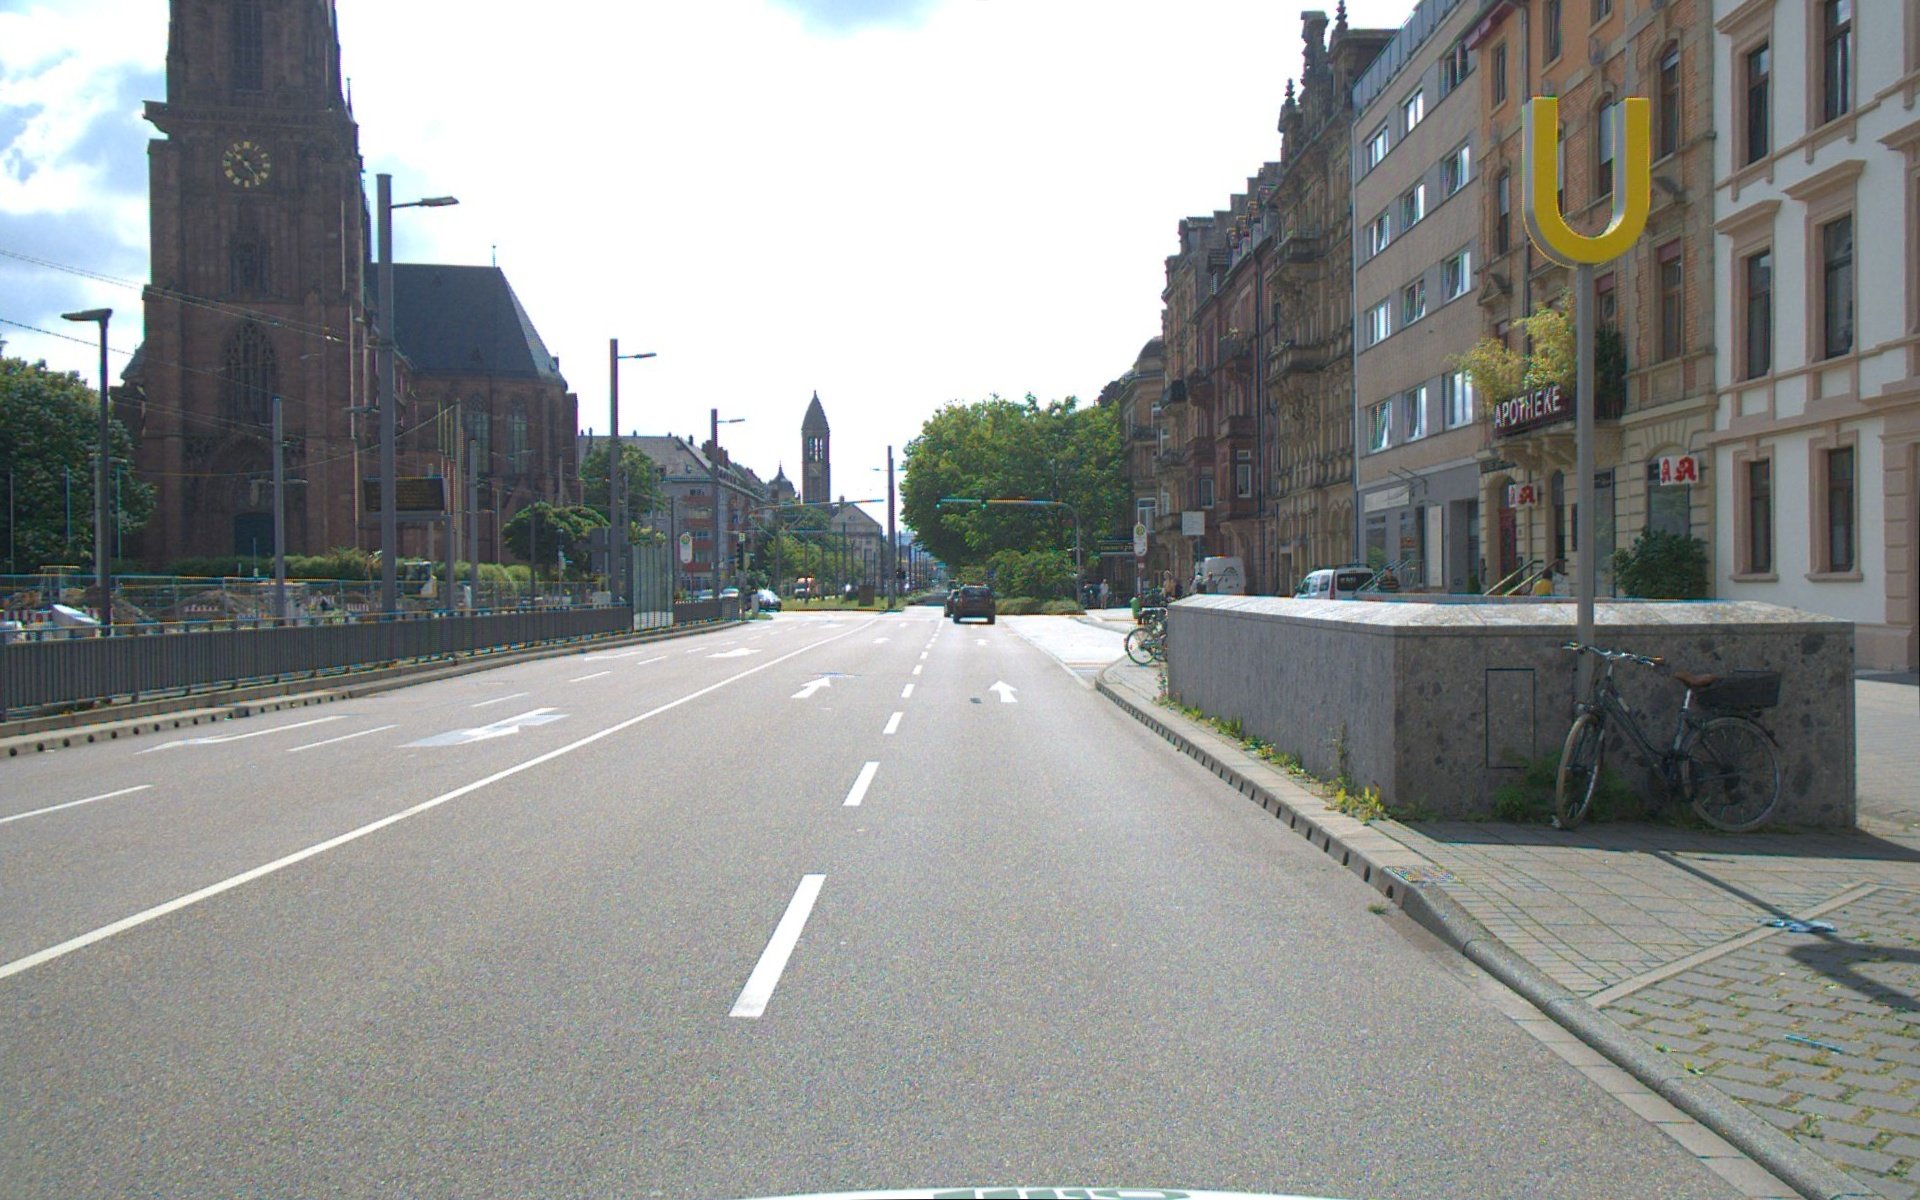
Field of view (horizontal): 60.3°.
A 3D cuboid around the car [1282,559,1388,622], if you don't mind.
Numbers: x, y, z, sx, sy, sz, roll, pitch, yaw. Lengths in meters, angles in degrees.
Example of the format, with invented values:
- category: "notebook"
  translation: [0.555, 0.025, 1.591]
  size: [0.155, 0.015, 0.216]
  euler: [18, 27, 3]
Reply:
- category: "car"
  translation: [12.071, -0.288, 53.556]
  size: [1.955, 1.894, 4.747]
  euler: [-1, 0, -5]

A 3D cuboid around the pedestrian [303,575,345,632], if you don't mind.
- category: "pedestrian"
  translation: [-23.409, 0.113, 60.904]
  size: [1.043, 2.049, 1.051]
  euler: [-1, 0, 3]

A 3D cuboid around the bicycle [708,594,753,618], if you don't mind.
- category: "bicycle"
  translation: [-11.110, 0.287, 80.129]
  size: [1.975, 1.146, 0.932]
  euler: [-1, 0, 10]

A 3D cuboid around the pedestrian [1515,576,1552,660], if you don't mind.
- category: "pedestrian"
  translation: [12.067, 0.364, 34.804]
  size: [0.566, 1.727, 0.612]
  euler: [-1, 2, 0]

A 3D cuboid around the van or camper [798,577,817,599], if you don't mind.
- category: "van or camper"
  translation: [-19.543, -1.542, 212.214]
  size: [2.211, 2.785, 6.199]
  euler: [-1, 0, -4]

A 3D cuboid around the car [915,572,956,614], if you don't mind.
- category: "car"
  translation: [-1.266, -0.357, 83.965]
  size: [1.954, 2.049, 3.998]
  euler: [-1, 0, -3]

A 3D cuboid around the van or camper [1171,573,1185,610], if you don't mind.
- category: "van or camper"
  translation: [12.087, -0.460, 91.890]
  size: [0.652, 2.049, 0.638]
  euler: [-1, 0, 0]

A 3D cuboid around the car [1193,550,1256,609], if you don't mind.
- category: "car"
  translation: [12.092, -0.947, 75.958]
  size: [1.953, 2.569, 5.888]
  euler: [-1, 1, 0]

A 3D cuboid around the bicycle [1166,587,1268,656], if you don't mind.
- category: "bicycle"
  translation: [4.930, 0.404, 31.698]
  size: [1.889, 1.259, 0.440]
  euler: [-1, 2, -11]

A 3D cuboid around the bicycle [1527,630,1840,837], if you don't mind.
- category: "bicycle"
  translation: [4.441, 0.807, 10.212]
  size: [1.600, 1.114, 0.612]
  euler: [3, 2, -2]

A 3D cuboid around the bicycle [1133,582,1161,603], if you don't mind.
- category: "bicycle"
  translation: [11.760, -0.494, 104.075]
  size: [1.732, 1.290, 0.467]
  euler: [0, 2, 3]

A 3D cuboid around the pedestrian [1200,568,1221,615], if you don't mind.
- category: "pedestrian"
  translation: [10.245, -0.352, 67.579]
  size: [0.650, 1.868, 0.693]
  euler: [-1, 0, -6]

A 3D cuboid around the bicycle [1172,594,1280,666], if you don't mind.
- category: "bicycle"
  translation: [4.799, 0.535, 29.928]
  size: [1.884, 1.259, 0.441]
  euler: [-1, 2, 2]

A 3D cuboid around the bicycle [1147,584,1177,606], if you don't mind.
- category: "bicycle"
  translation: [12.141, -0.320, 99.537]
  size: [1.732, 1.290, 0.467]
  euler: [0, 2, 3]

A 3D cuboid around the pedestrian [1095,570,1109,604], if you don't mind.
- category: "pedestrian"
  translation: [8.683, -0.767, 101.081]
  size: [0.752, 2.049, 0.715]
  euler: [-1, 0, 1]

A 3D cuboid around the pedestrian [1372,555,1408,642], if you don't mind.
- category: "pedestrian"
  translation: [10.824, -0.050, 41.692]
  size: [0.706, 2.135, 0.786]
  euler: [-1, 2, 0]

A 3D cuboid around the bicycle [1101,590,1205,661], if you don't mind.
- category: "bicycle"
  translation: [3.605, 0.469, 30.891]
  size: [1.891, 1.259, 0.440]
  euler: [-1, 2, -14]

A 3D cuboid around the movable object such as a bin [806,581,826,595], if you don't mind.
- category: "movable object such as a bin"
  translation: [-19.060, -1.558, 218.192]
  size: [2.168, 1.723, 3.706]
  euler: [-1, 3, -13]

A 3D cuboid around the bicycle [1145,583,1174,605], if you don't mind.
- category: "bicycle"
  translation: [12.054, -0.359, 100.139]
  size: [1.709, 1.290, 0.467]
  euler: [0, 2, 3]

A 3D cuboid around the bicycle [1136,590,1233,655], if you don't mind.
- category: "bicycle"
  translation: [4.603, 0.456, 33.877]
  size: [1.943, 1.259, 0.440]
  euler: [-1, 2, -12]

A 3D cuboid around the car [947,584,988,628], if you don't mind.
- category: "car"
  translation: [0.298, 0.256, 72.862]
  size: [1.655, 1.741, 3.609]
  euler: [-1, 3, -2]

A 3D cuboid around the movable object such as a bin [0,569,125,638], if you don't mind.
- category: "movable object such as a bin"
  translation: [-40.581, 0.145, 74.330]
  size: [5.040, 2.962, 1.997]
  euler: [-1, 0, -7]

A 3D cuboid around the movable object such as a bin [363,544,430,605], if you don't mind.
- category: "movable object such as a bin"
  translation: [-30.224, -1.406, 88.834]
  size: [1.951, 3.159, 4.003]
  euler: [0, 3, 4]

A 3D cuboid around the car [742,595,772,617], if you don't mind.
- category: "car"
  translation: [-13.887, 0.367, 113.346]
  size: [1.878, 1.442, 3.738]
  euler: [-1, 0, -4]

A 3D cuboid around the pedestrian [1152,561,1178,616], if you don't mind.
- category: "pedestrian"
  translation: [7.335, -0.399, 59.144]
  size: [0.652, 1.936, 0.691]
  euler: [-1, 0, -18]

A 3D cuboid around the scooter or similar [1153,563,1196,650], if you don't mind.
- category: "scooter or similar"
  translation: [4.597, 0.125, 35.487]
  size: [0.390, 1.818, 1.533]
  euler: [-1, 0, -13]

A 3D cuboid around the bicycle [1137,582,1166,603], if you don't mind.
- category: "bicycle"
  translation: [11.841, -0.451, 102.368]
  size: [1.732, 1.290, 0.467]
  euler: [0, 2, 3]

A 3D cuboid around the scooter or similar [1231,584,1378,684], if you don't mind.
- category: "scooter or similar"
  translation: [5.554, 0.541, 26.763]
  size: [2.275, 1.572, 0.698]
  euler: [0, 2, 5]
